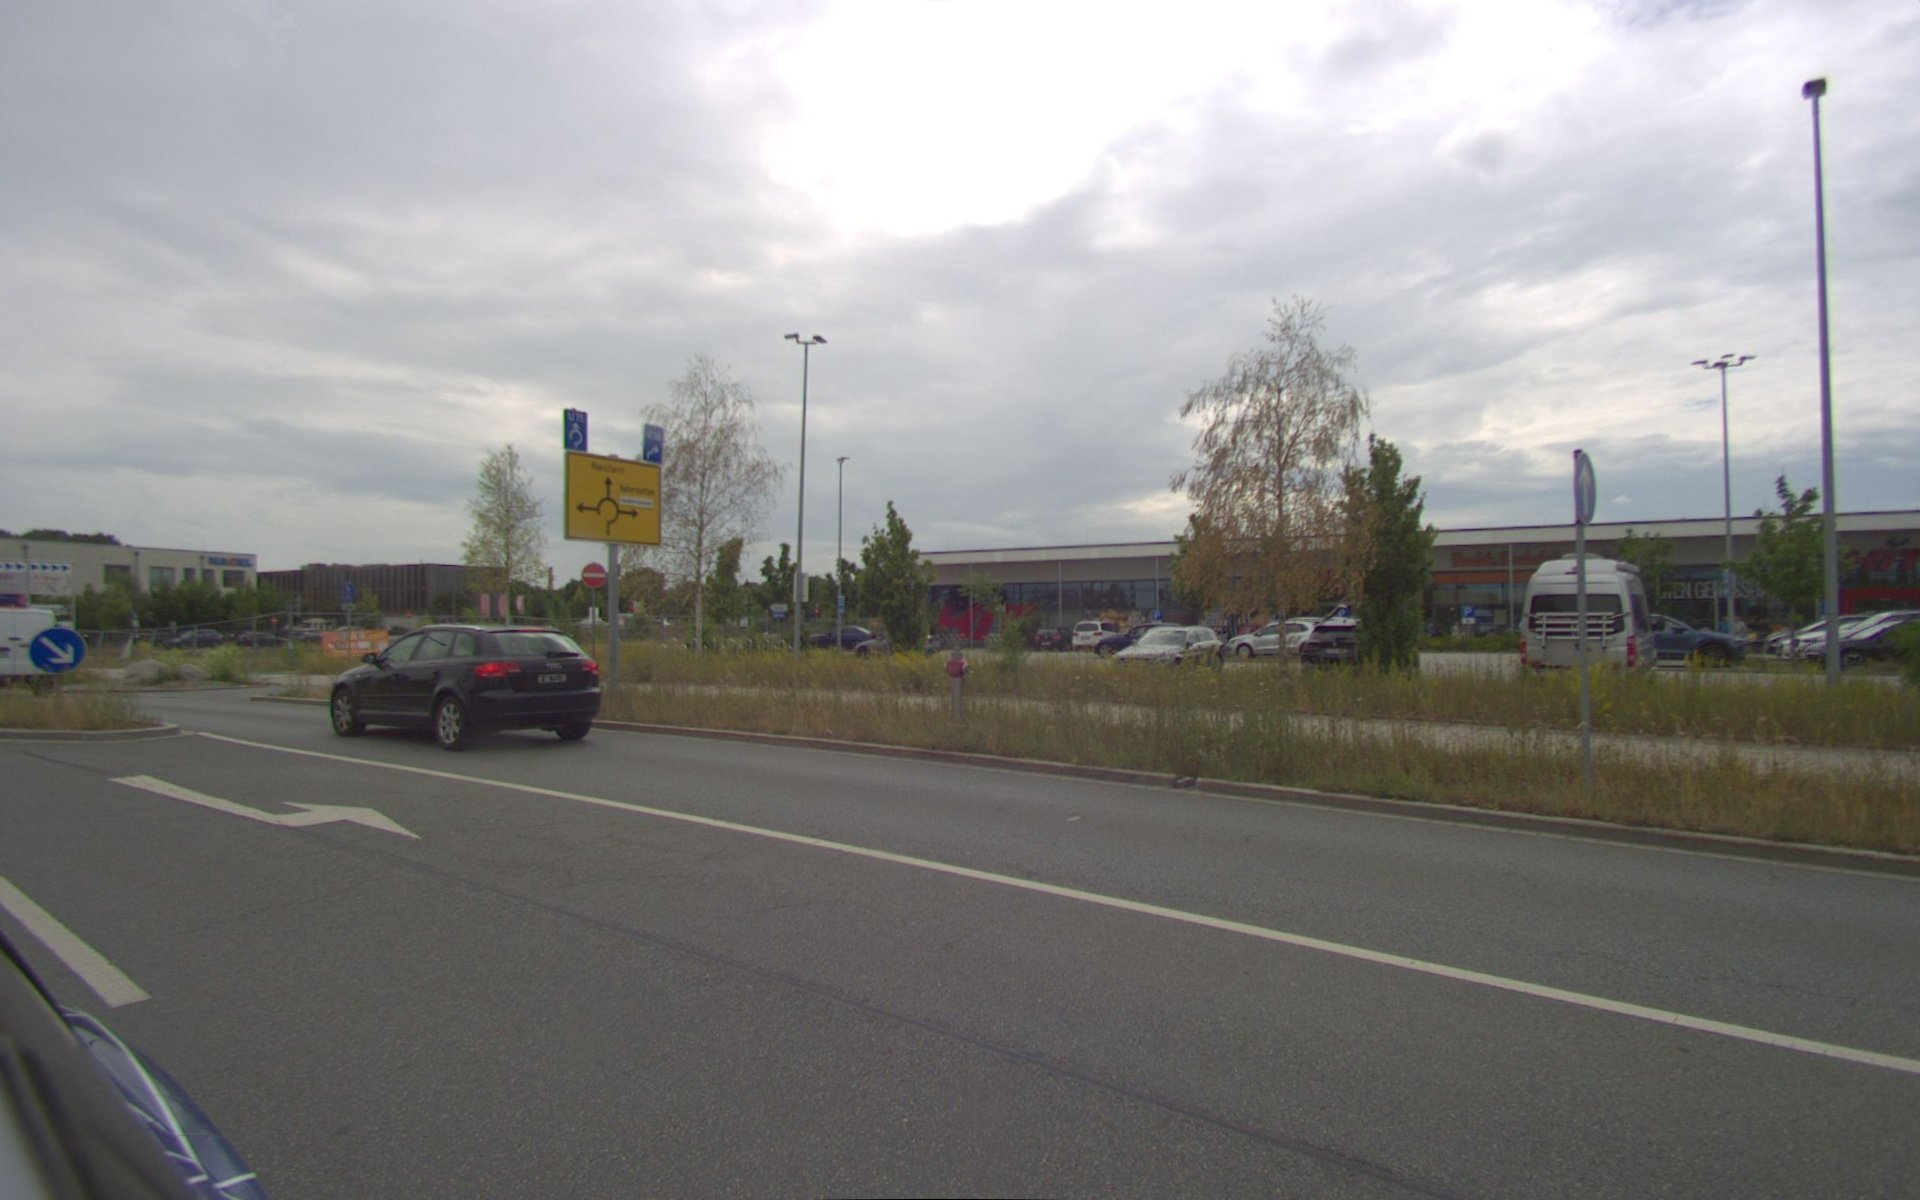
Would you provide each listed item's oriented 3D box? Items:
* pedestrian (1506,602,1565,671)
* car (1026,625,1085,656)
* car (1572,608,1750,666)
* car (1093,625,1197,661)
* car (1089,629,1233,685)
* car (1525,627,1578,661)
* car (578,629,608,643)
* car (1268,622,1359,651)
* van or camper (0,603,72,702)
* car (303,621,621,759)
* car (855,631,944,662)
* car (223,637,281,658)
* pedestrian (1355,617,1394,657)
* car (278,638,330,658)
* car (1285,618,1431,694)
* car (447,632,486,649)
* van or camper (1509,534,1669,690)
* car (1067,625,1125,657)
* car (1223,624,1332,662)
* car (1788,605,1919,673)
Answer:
[{"bbox_3d":[16.287,1.030,28.679,1.101,1.904,1.008,-1,-2,8],"label":"pedestrian"},{"bbox_3d":[5.594,2.325,58.770,1.992,1.741,3.959,-1,-2,30],"label":"car"},{"bbox_3d":[22.277,1.173,32.391,4.366,1.765,1.894,-1,-2,26],"label":"car"},{"bbox_3d":[7.824,1.809,42.796,4.038,1.453,1.836,-1,-2,22],"label":"car"},{"bbox_3d":[5.608,1.495,27.808,2.138,1.377,4.524,-2,-2,37],"label":"car"},{"bbox_3d":[27.322,1.988,46.847,1.991,1.486,3.961,-1,-2,29],"label":"car"},{"bbox_3d":[-49.244,4.783,135.800,1.979,1.730,3.986,-1,-1,11],"label":"car"},{"bbox_3d":[17.944,1.843,51.384,3.988,1.453,1.977,-1,-2,33],"label":"car"},{"bbox_3d":[-21.671,1.120,22.029,5.107,2.023,1.933,-1,-2,30],"label":"van or camper"},{"bbox_3d":[-6.281,1.001,12.622,4.225,1.456,1.703,-1,-2,35],"label":"car"},{"bbox_3d":[-3.054,2.326,50.942,4.173,1.463,1.815,-1,-2,27],"label":"car"},{"bbox_3d":[-62.665,4.207,89.686,1.979,1.730,3.986,-1,-1,11],"label":"car"},{"bbox_3d":[16.818,1.494,41.120,1.243,1.619,0.888,-1,-2,9],"label":"pedestrian"},{"bbox_3d":[-63.054,4.586,97.349,1.979,1.730,3.986,-1,-1,11],"label":"car"},{"bbox_3d":[9.493,1.261,23.981,2.083,1.646,3.903,-2,-2,40],"label":"car"},{"bbox_3d":[-55.957,4.564,114.848,1.979,1.730,3.986,-1,-1,11],"label":"car"},{"bbox_3d":[13.314,0.272,21.222,2.240,2.821,5.796,-1,-1,38],"label":"van or camper"},{"bbox_3d":[7.740,2.285,57.338,1.945,1.741,3.959,-1,-2,30],"label":"car"},{"bbox_3d":[12.651,1.712,40.384,3.884,1.453,1.873,-1,-2,28],"label":"car"},{"bbox_3d":[27.815,1.135,29.864,4.907,1.914,2.137,-1,-2,31],"label":"car"}]
